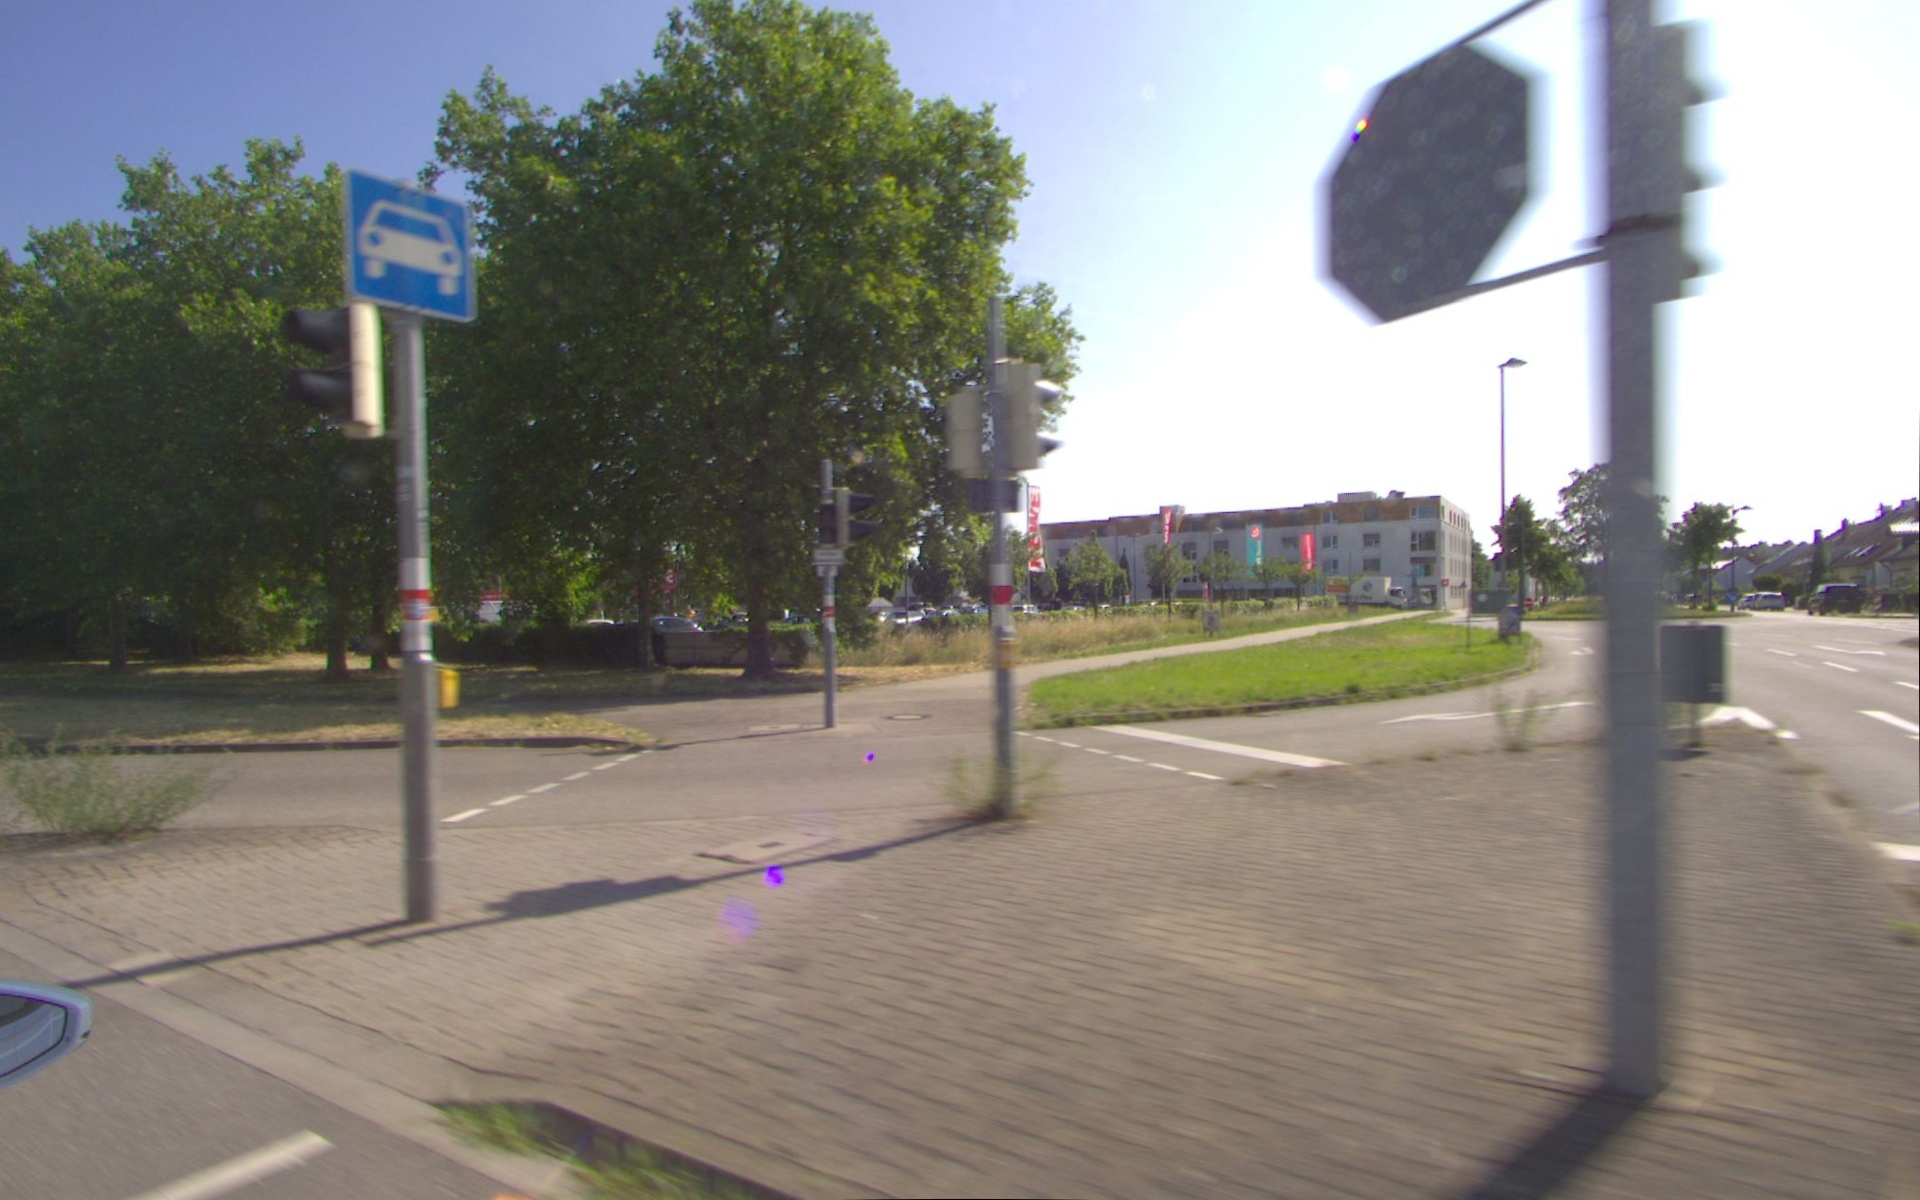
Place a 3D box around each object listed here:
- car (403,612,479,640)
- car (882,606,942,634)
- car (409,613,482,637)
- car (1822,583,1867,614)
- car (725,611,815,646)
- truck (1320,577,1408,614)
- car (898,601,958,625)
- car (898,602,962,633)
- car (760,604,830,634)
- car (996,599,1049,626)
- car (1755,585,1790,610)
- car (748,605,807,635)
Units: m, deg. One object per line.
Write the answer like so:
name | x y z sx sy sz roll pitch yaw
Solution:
car | -33.422 1.673 64.541 1.980 1.705 3.964 -2 -2 44
car | -3.257 1.355 68.758 1.976 1.751 3.969 -1 0 40
car | -34.873 1.705 67.915 1.980 1.605 3.963 -2 -2 45
car | 54.153 -0.091 61.282 1.978 1.813 3.965 -1 0 43
car | -10.434 1.559 55.127 4.420 1.773 1.987 -1 0 6
truck | 42.399 -0.435 105.200 8.144 3.592 2.616 -1 0 35
car | -2.528 1.008 79.575 4.450 1.773 1.974 -1 0 -36
car | -1.873 1.078 64.179 1.976 1.884 3.969 -1 0 40
car | -10.146 1.184 61.869 1.976 1.751 3.969 -1 0 40
car | 4.705 0.913 75.055 1.976 1.951 3.969 -1 0 40
car | 68.059 -0.164 83.910 1.974 1.950 3.976 -2 -2 35
car | -13.405 1.461 73.694 1.976 2.040 3.969 -1 0 40
